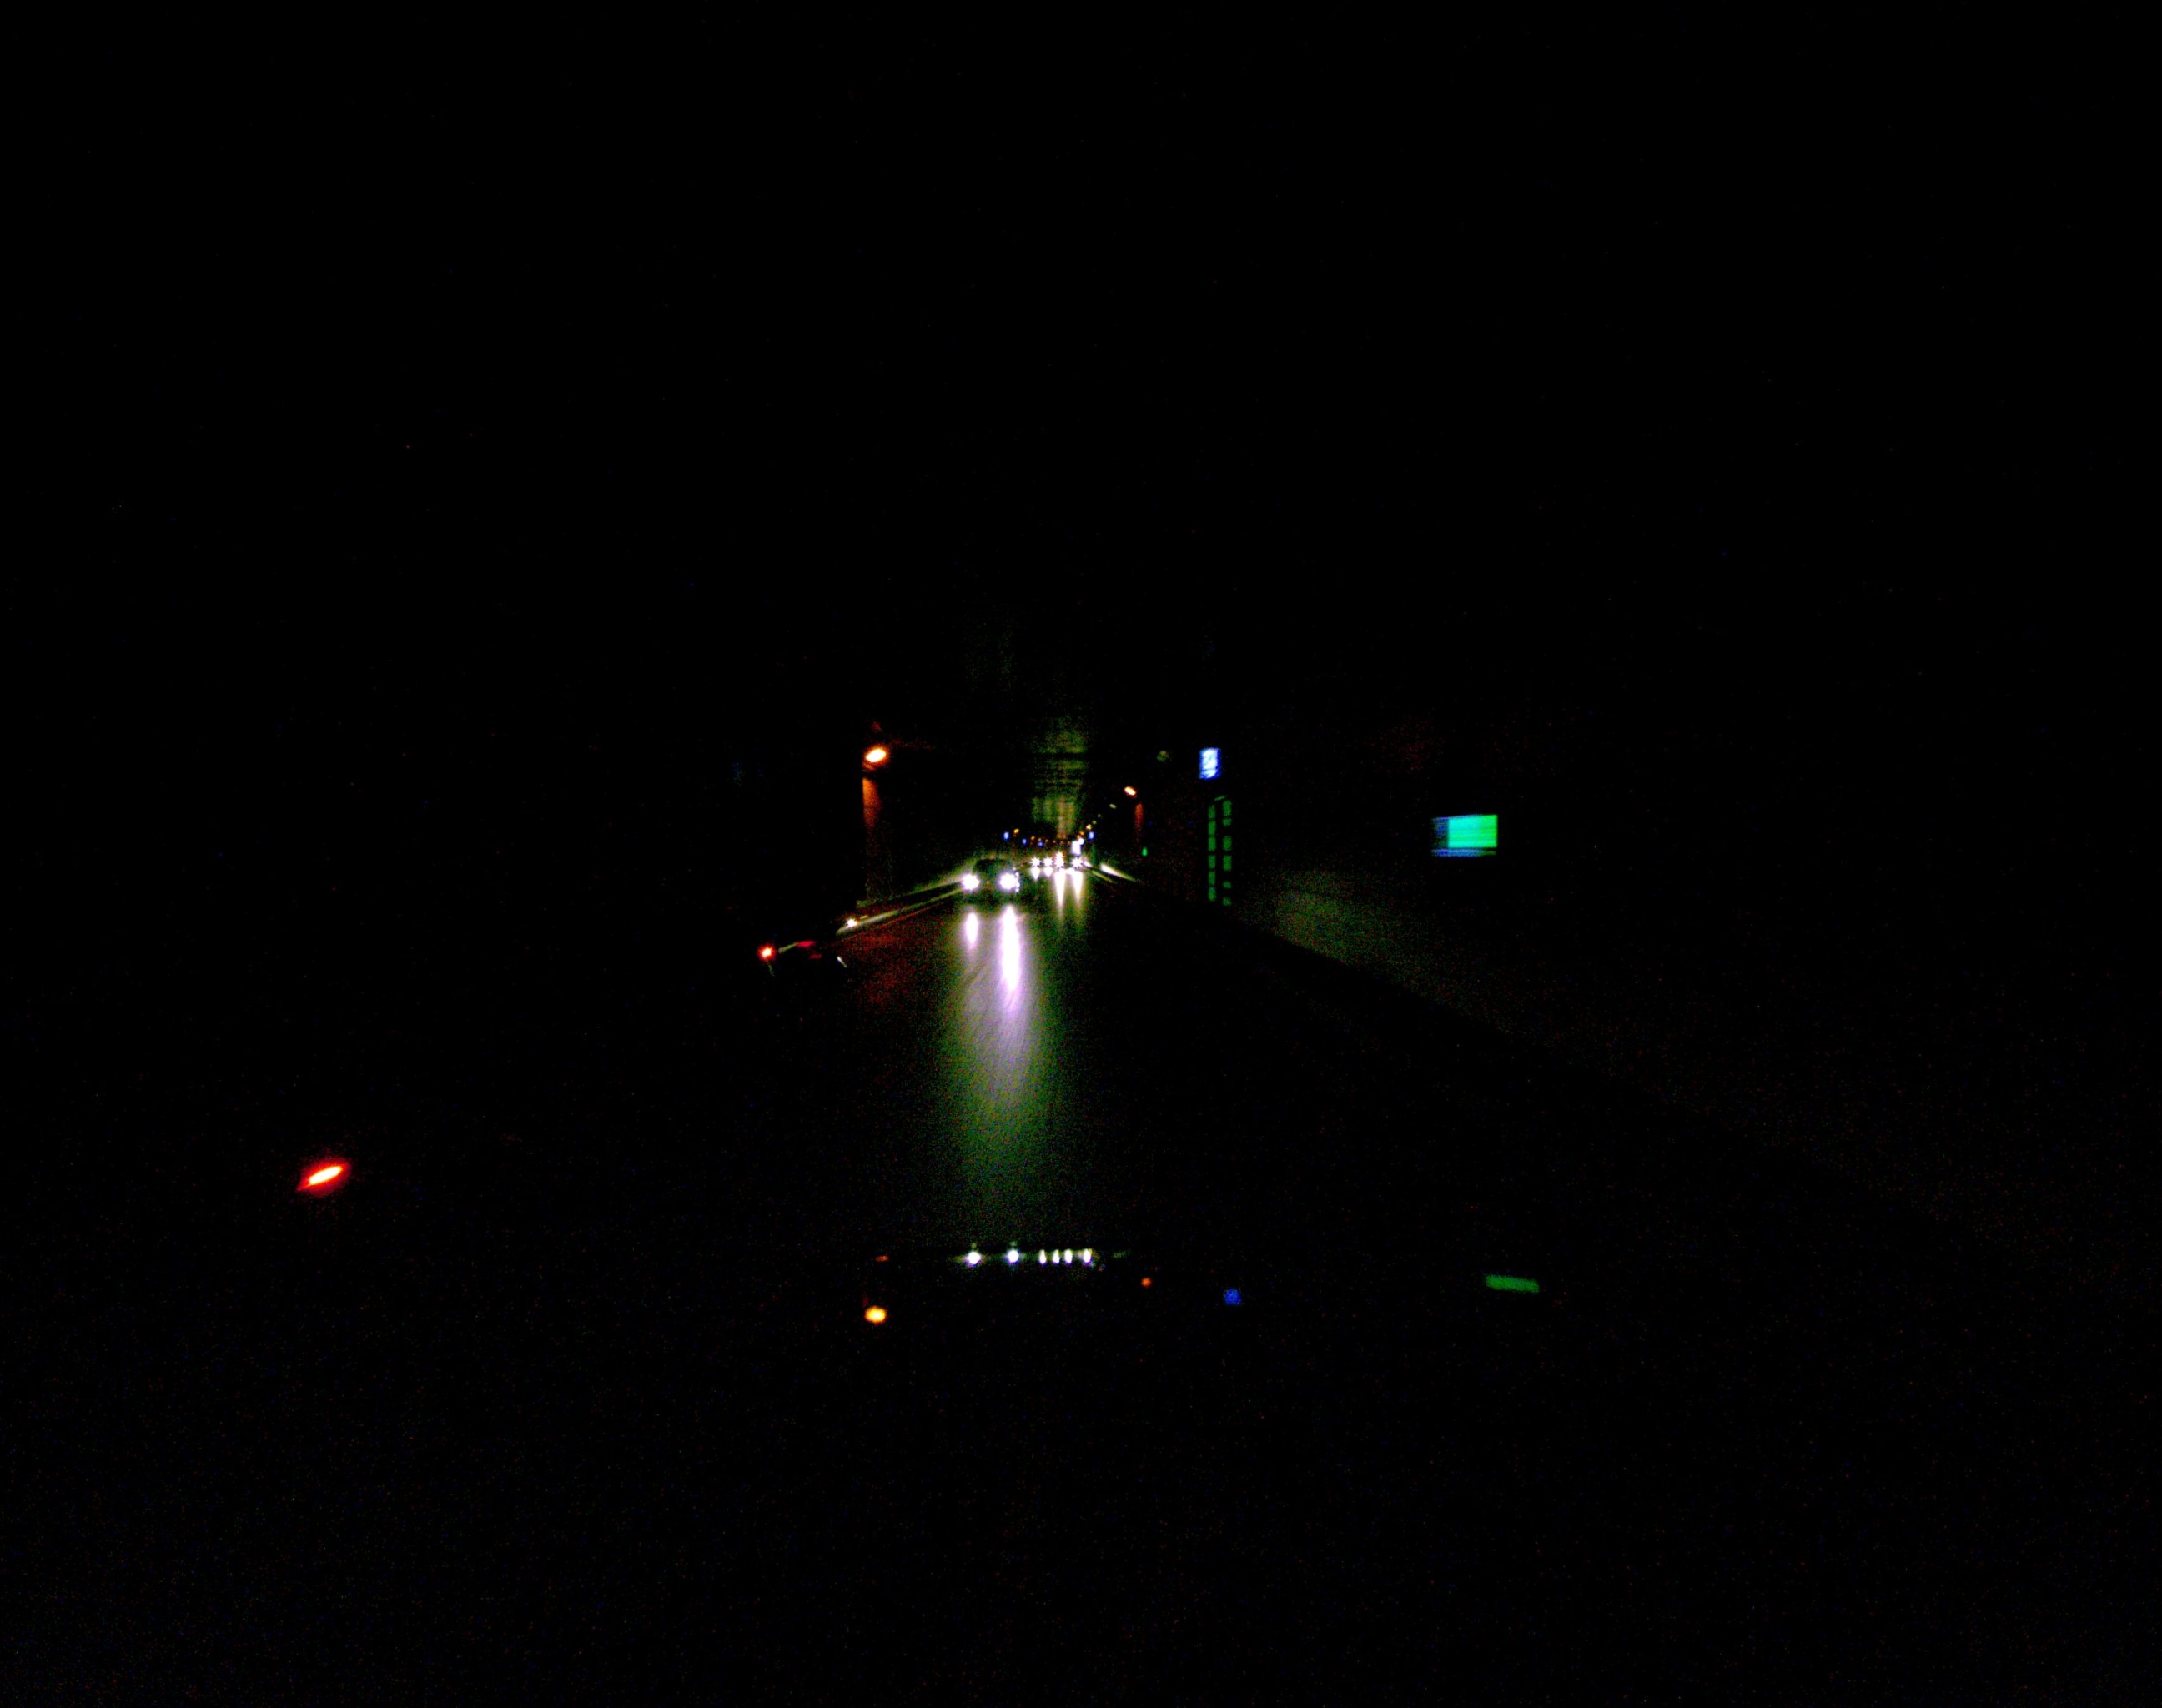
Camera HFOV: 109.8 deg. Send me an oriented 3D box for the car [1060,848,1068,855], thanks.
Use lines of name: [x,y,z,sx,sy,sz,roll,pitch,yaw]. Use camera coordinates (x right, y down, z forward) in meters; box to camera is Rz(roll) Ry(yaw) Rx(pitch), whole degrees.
car: [-4.168,-0.556,189.858,1.999,1.674,3.999,-1,1,-1]

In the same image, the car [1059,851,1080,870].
car: [-1.006,0.586,68.645,1.820,1.589,4.000,1,1,0]

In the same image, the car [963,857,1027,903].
car: [-2.989,0.879,27.149,1.735,1.395,3.798,-2,1,1]

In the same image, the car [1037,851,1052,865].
car: [-4.415,0.461,93.251,1.736,1.565,3.999,-1,0,-2]

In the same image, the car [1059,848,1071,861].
car: [-2.282,0.005,110.345,1.715,1.729,3.998,-1,2,-1]

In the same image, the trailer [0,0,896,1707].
trailer: [-3.306,-0.285,2.690,2.882,3.836,8.948,-1,0,1]
